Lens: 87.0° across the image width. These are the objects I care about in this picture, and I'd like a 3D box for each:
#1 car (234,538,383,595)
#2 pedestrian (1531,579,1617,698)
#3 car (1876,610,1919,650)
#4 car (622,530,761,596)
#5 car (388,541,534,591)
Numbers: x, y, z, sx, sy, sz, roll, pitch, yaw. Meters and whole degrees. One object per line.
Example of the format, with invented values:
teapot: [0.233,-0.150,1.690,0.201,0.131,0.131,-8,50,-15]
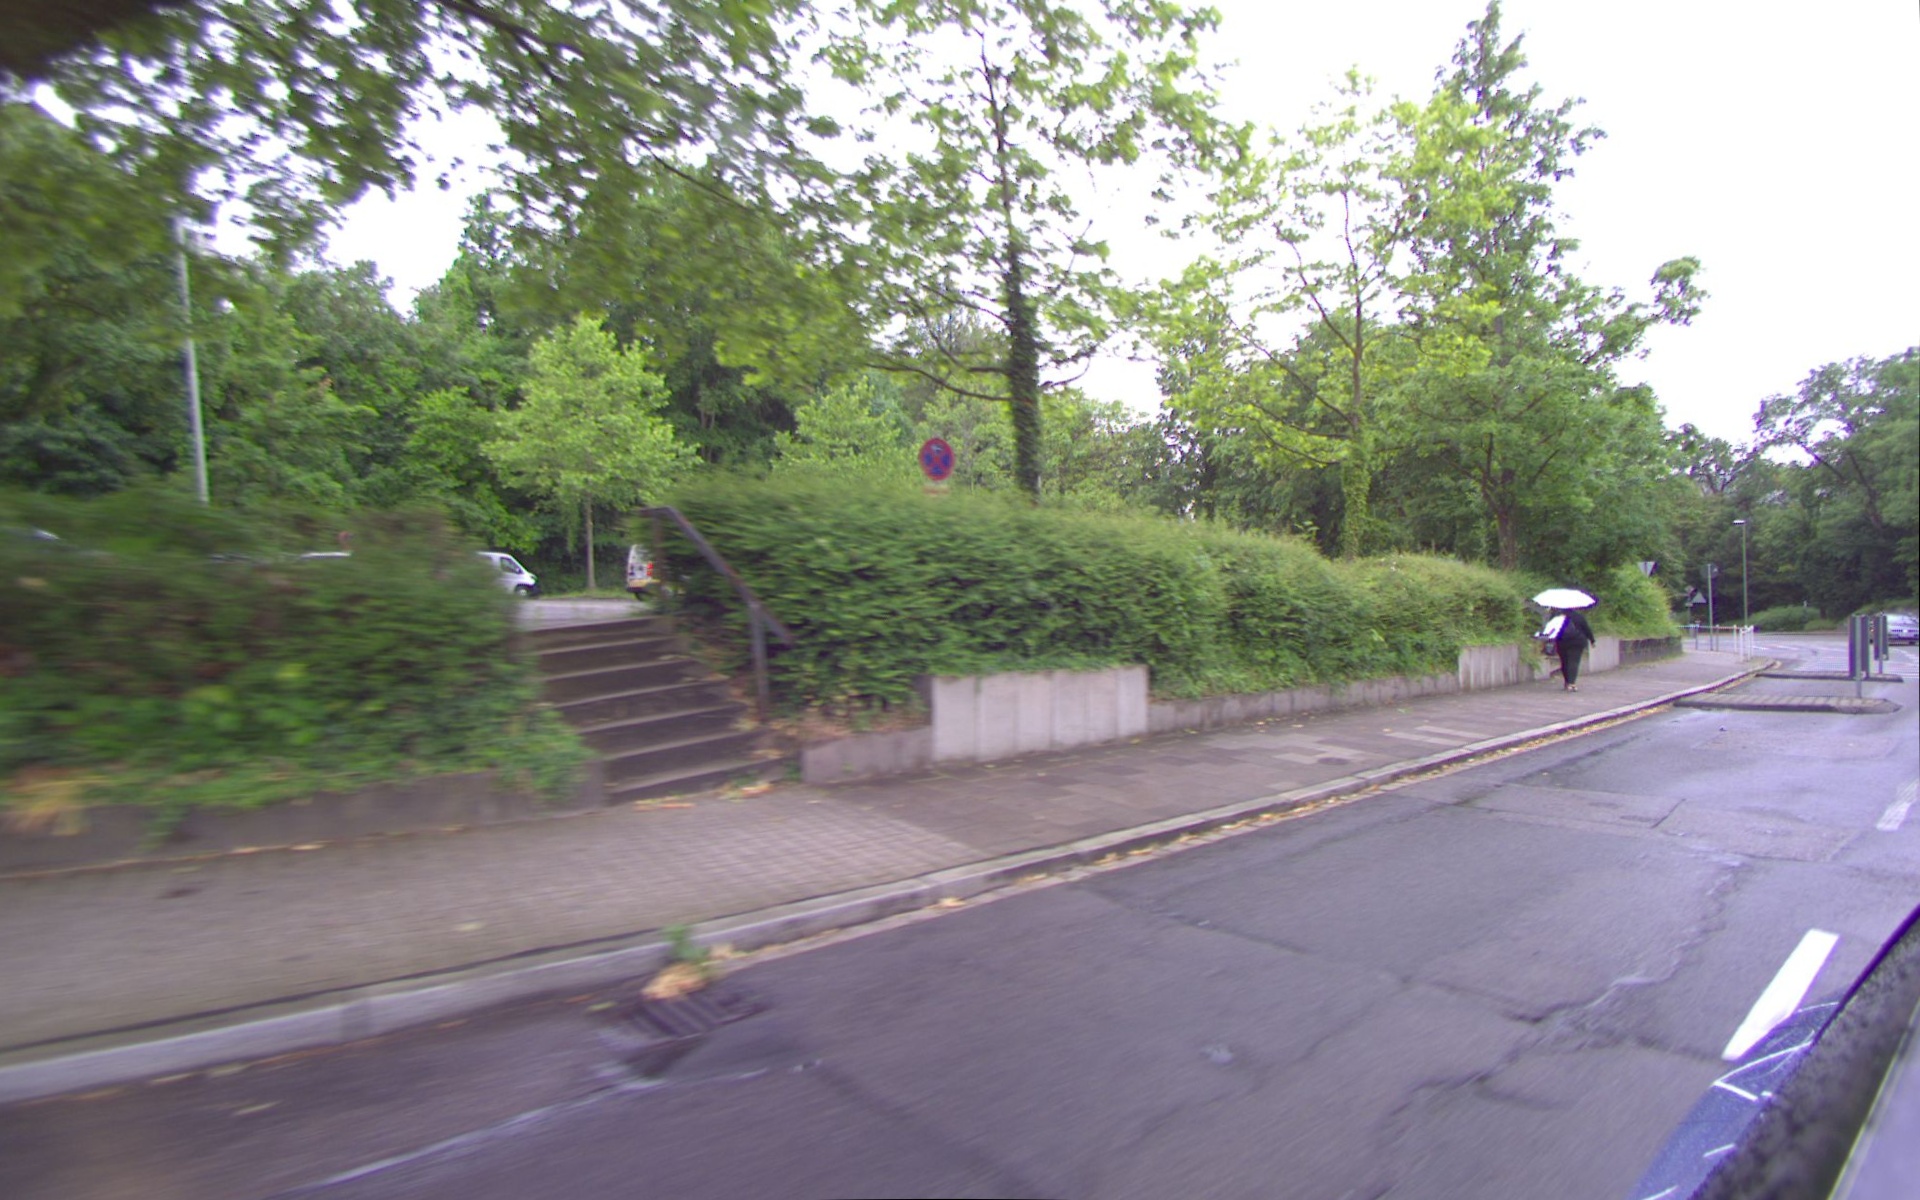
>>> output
car: [-19.687,-0.973,30.657,3.567,1.543,1.704,1,-2,-42]
pedestrian: [10.424,0.617,17.169,1.050,1.917,1.116,0,1,42]
car: [42.942,1.338,45.632,3.931,1.723,2.033,1,-2,-42]
car: [-9.062,-1.188,34.355,4.280,2.040,1.704,1,-2,-42]
car: [-22.470,-1.470,45.763,5.627,2.040,1.997,0,-2,-40]
